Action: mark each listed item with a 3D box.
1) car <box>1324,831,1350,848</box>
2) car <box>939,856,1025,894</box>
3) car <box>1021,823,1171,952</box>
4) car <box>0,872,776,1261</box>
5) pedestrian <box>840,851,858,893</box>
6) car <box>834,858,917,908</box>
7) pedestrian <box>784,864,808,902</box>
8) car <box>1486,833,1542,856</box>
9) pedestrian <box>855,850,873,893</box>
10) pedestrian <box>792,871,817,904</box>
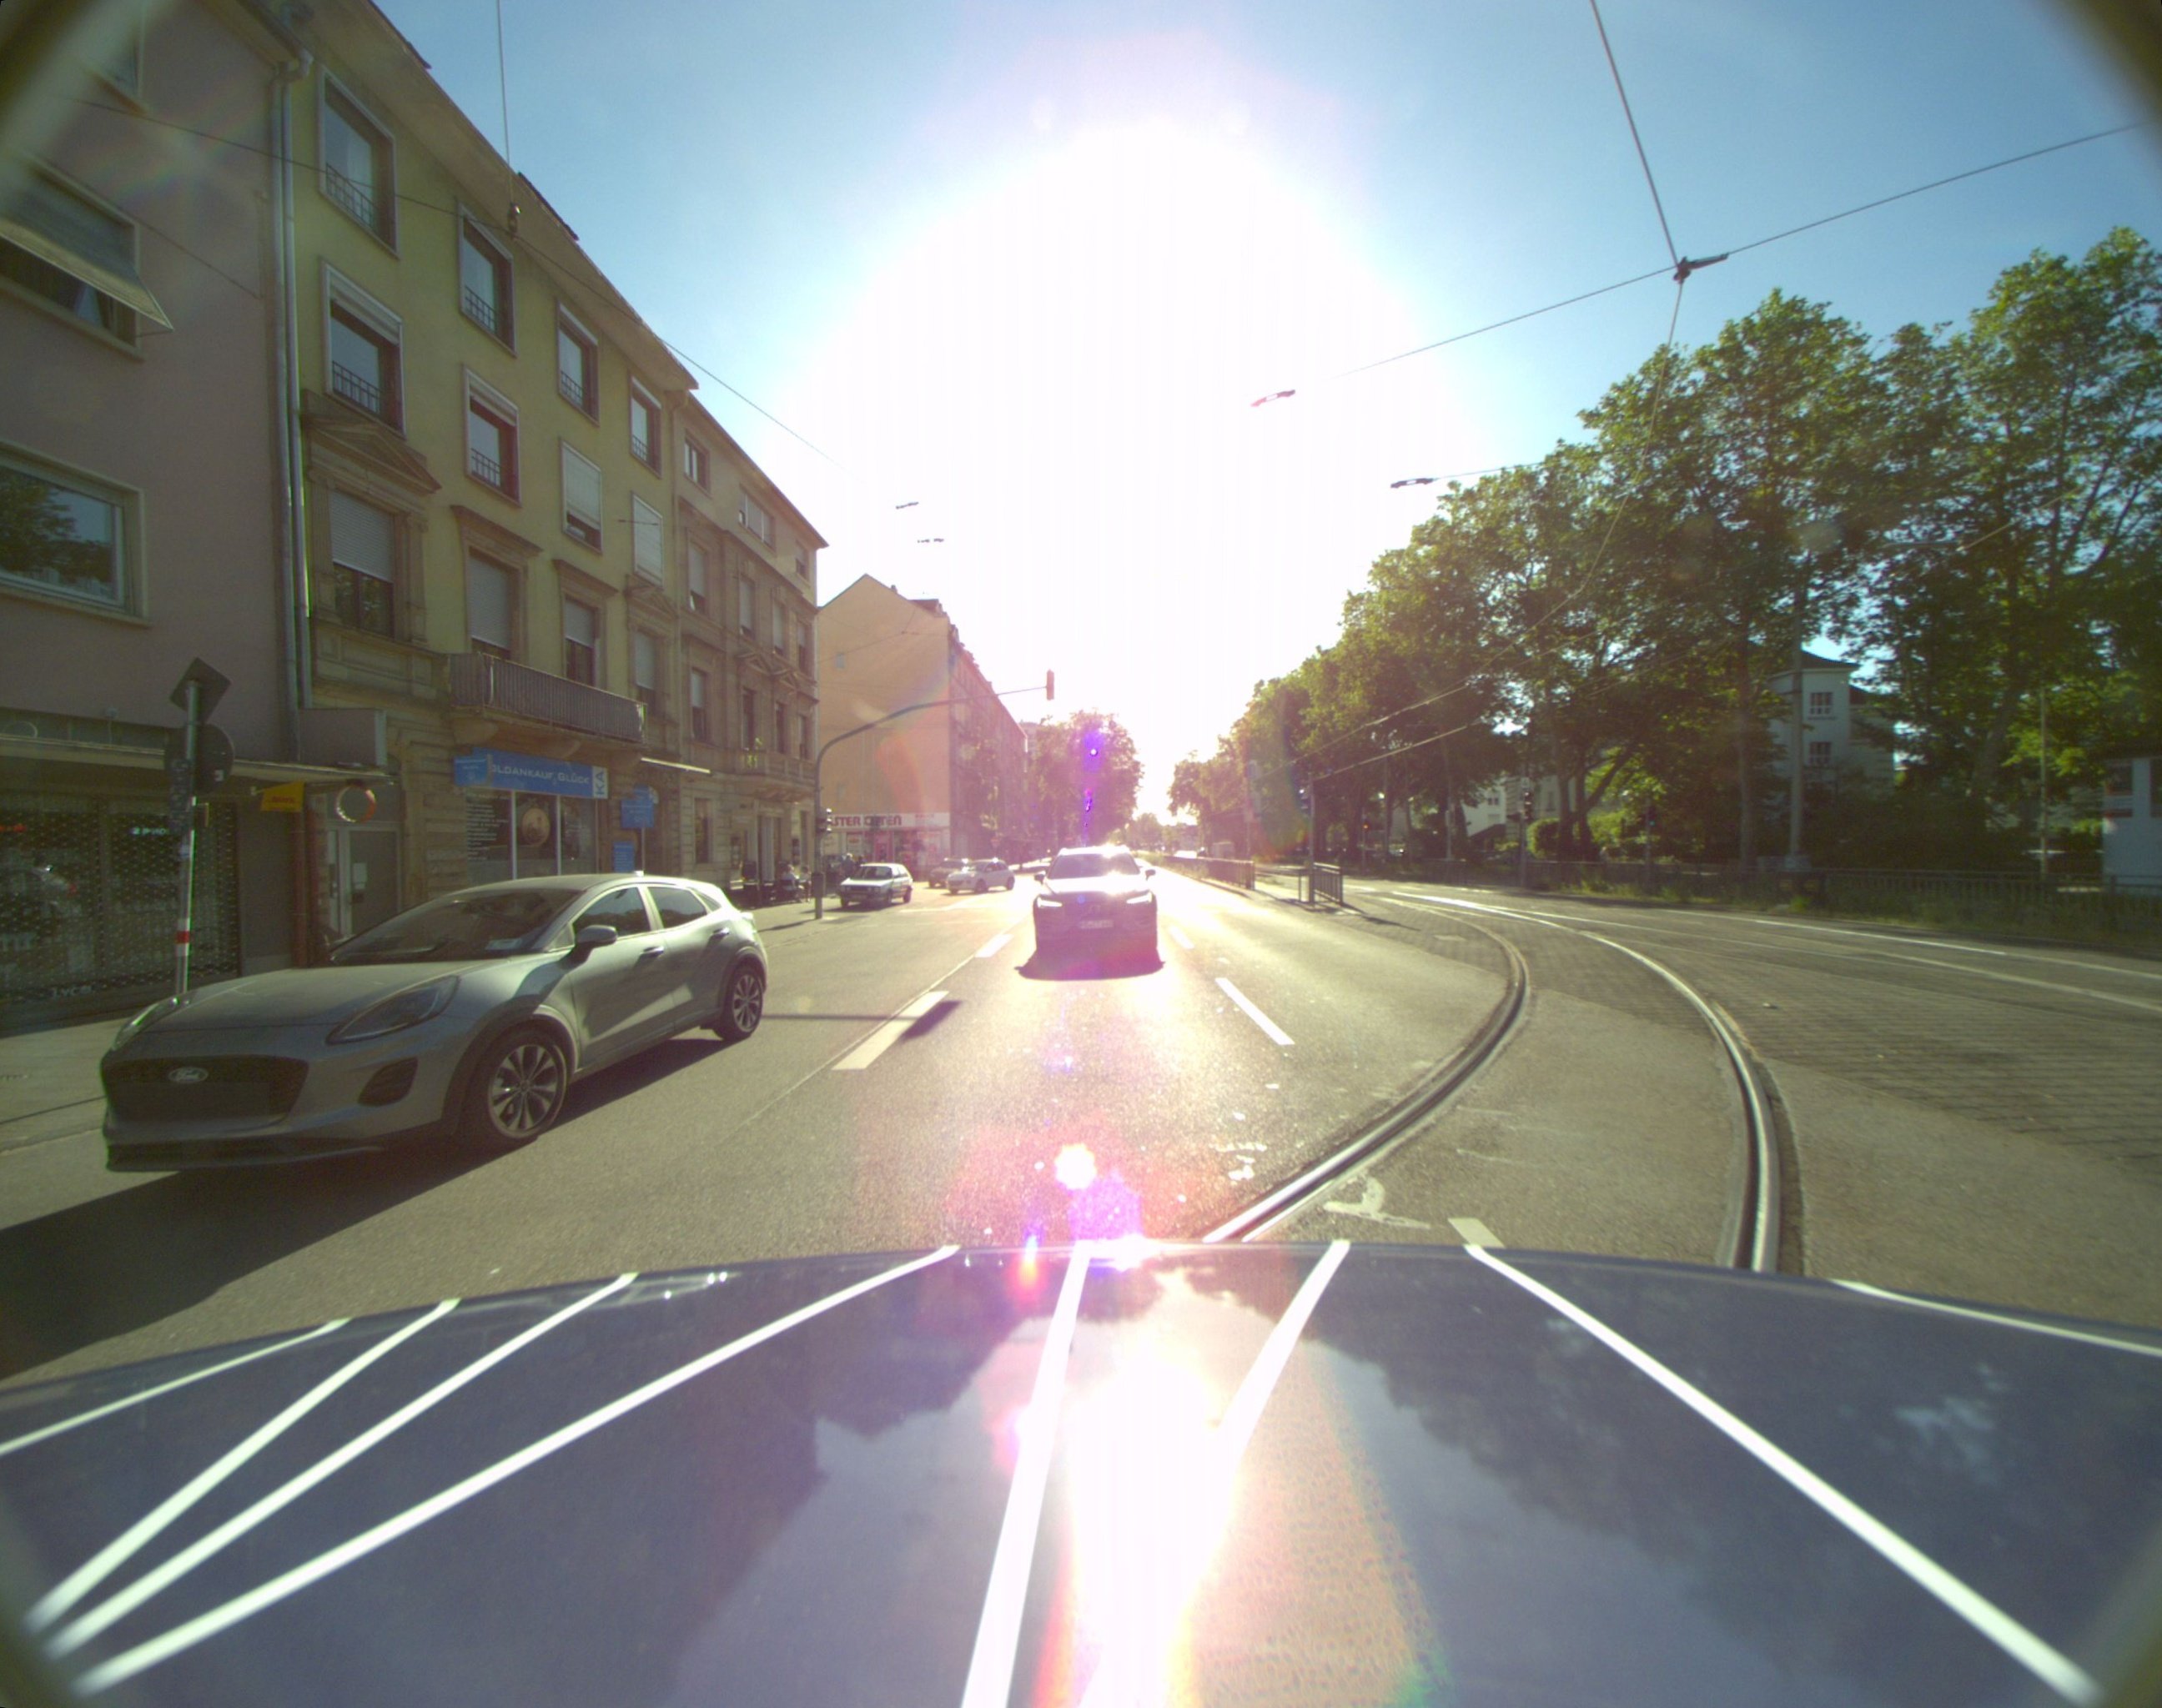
[{"bbox_3d":[27.648,-1.561,82.176,1.745,1.782,3.742,-1,0,5],"label":"car"},{"bbox_3d":[-4.590,0.959,35.736,1.812,1.442,4.006,-3,1,31],"label":"car"},{"bbox_3d":[0.250,0.433,12.401,1.968,1.664,4.000,-3,1,1],"label":"car"},{"bbox_3d":[-3.888,0.989,5.287,1.659,1.473,3.972,-3,1,3],"label":"car"},{"bbox_3d":[-9.763,0.757,31.942,0.495,1.752,0.660,-1,1,2],"label":"pedestrian"},{"bbox_3d":[-7.024,0.937,26.389,1.739,1.510,4.000,0,1,1],"label":"car"},{"bbox_3d":[-9.785,0.990,26.100,0.495,1.252,0.660,-1,1,4],"label":"pedestrian"},{"bbox_3d":[30.405,-0.690,53.451,1.722,1.462,3.756,-3,1,0],"label":"car"},{"bbox_3d":[-9.098,0.719,31.809,0.495,1.752,0.660,-1,1,2],"label":"pedestrian"},{"bbox_3d":[-9.924,1.198,27.247,0.658,1.164,0.496,-1,1,16],"label":"pedestrian"}]
